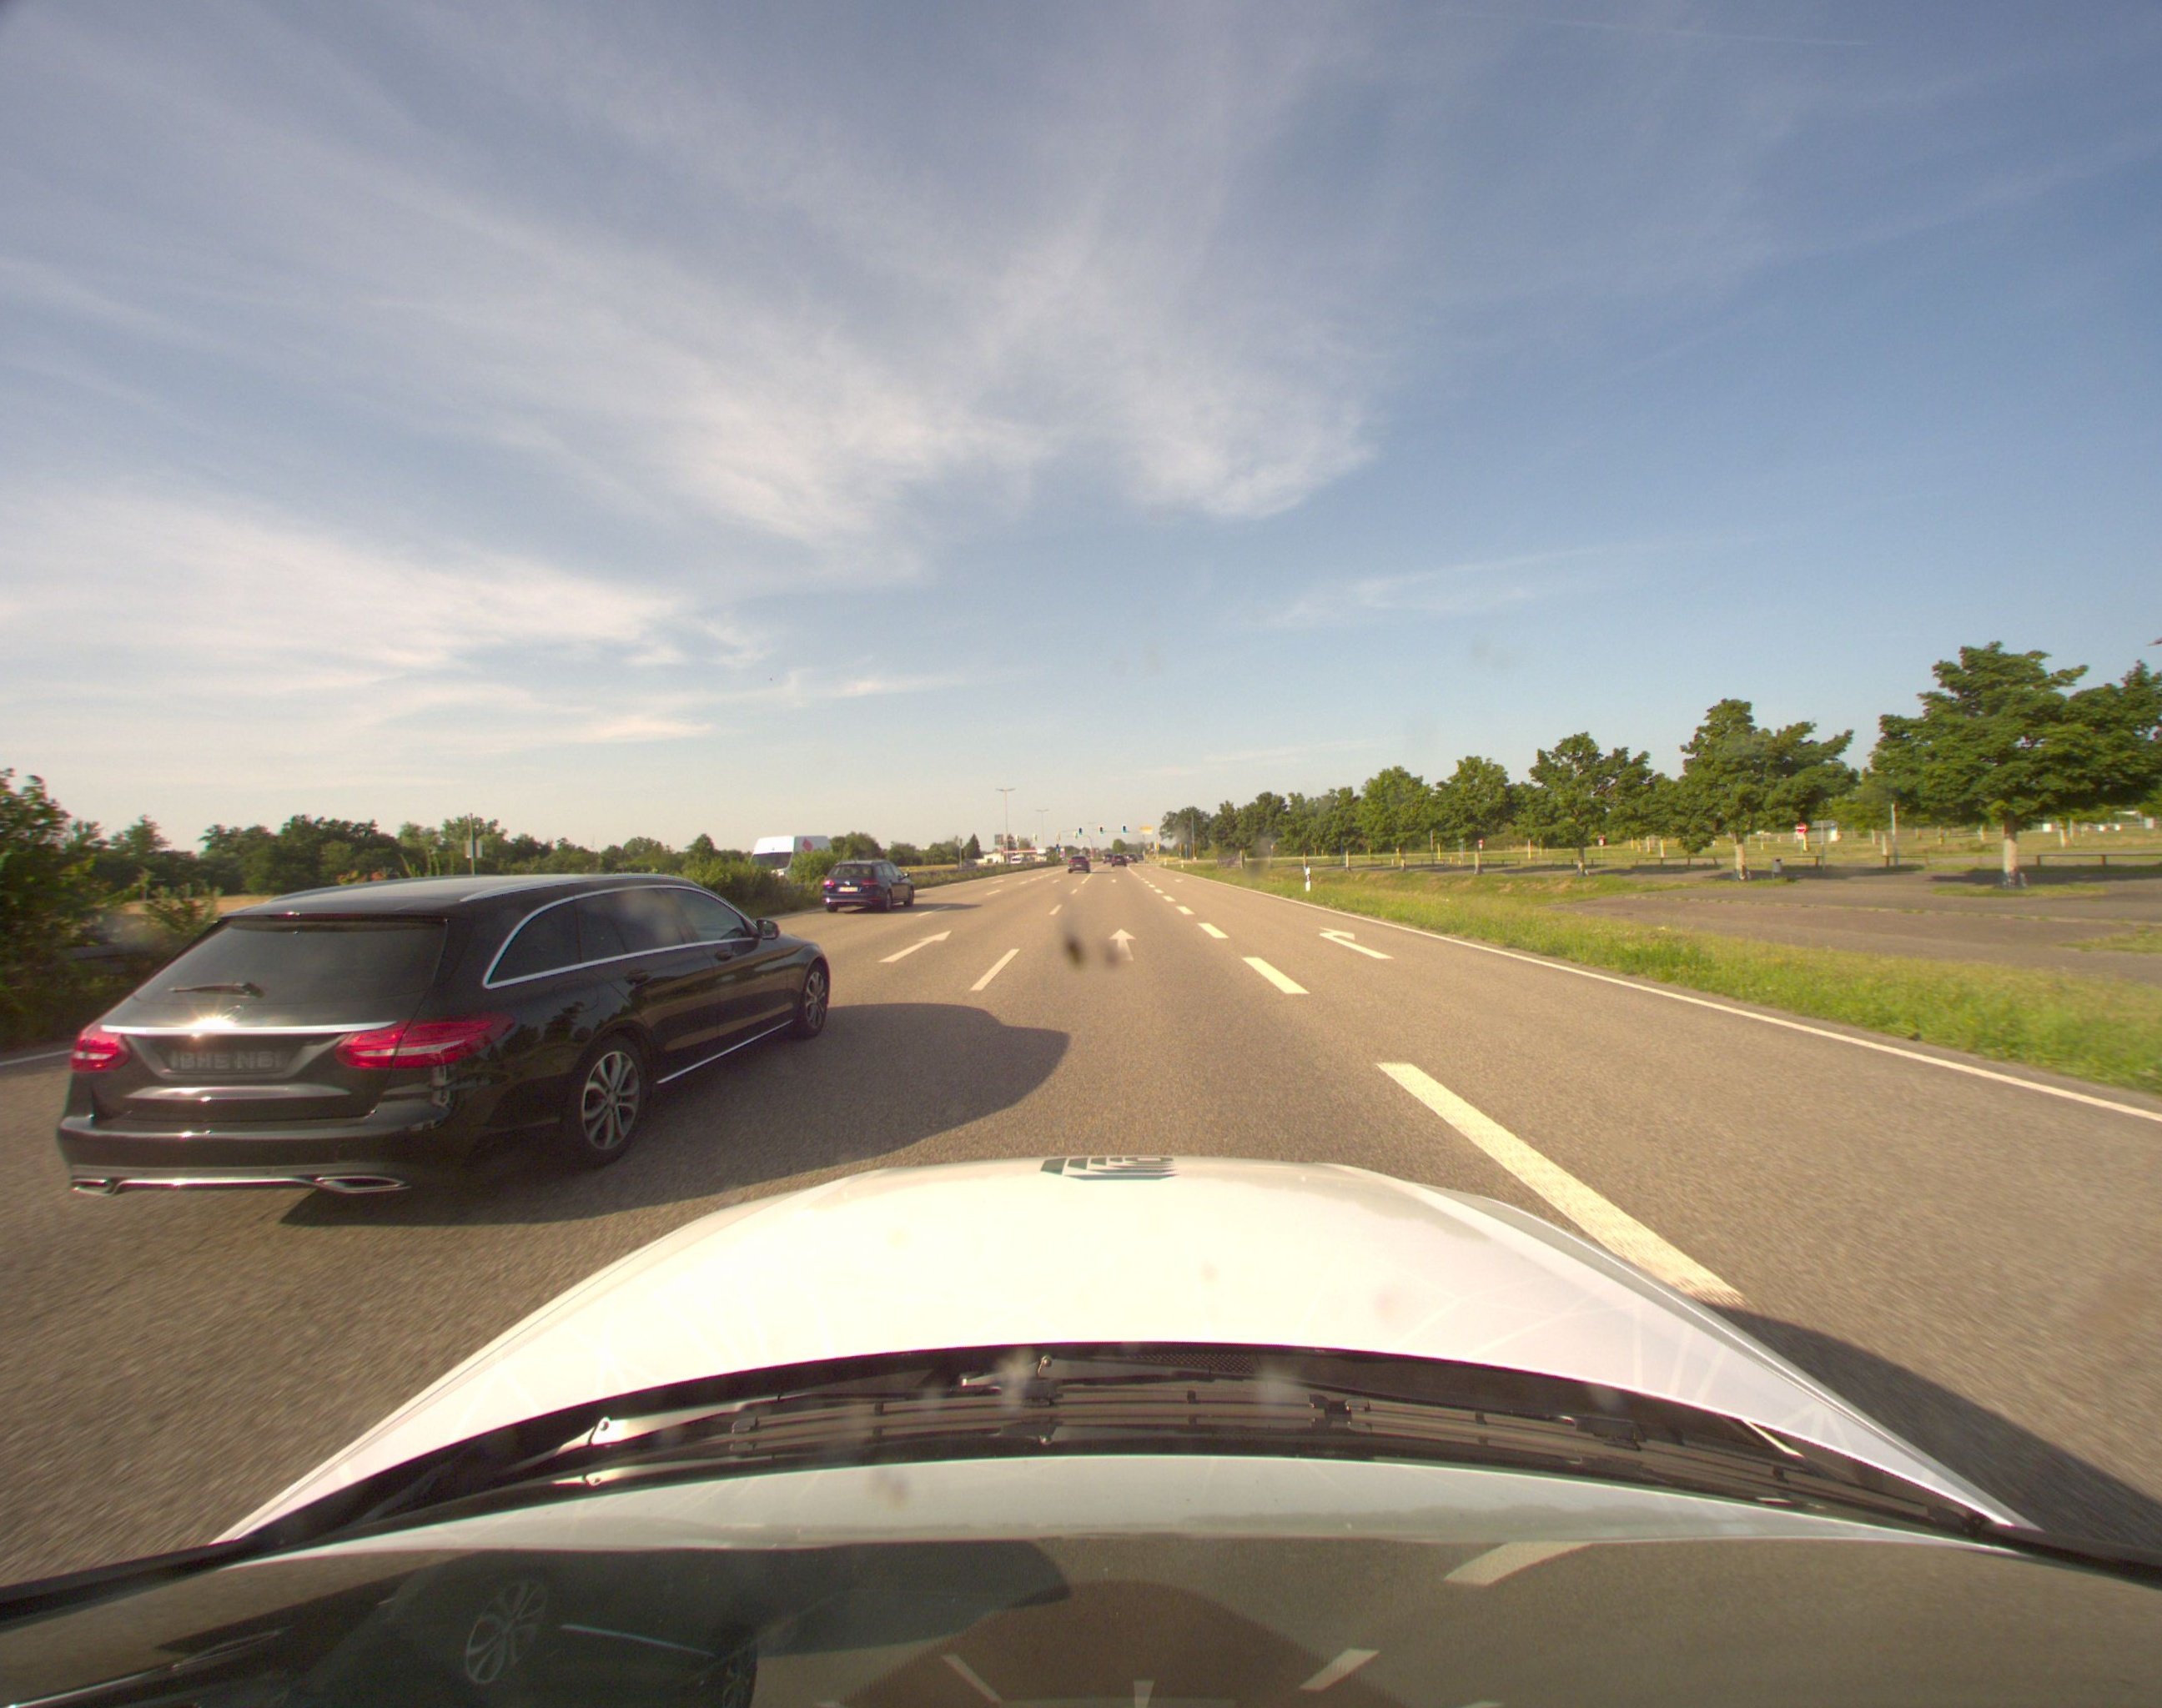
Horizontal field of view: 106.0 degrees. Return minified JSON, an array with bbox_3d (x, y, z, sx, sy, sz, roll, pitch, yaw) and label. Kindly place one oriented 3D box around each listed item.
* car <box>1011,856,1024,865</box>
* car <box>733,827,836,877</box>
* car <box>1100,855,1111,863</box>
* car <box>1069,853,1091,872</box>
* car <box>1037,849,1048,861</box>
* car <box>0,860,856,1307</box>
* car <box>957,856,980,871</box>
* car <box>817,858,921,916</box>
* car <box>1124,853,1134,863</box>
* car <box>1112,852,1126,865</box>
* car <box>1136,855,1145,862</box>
[{"bbox_3d":[-9.717,0.998,124.375,1.515,1.363,3.445,-1,0,2],"label":"car"},{"bbox_3d":[-13.129,-0.037,36.657,2.153,2.035,6.325,0,-1,2],"label":"car"},{"bbox_3d":[4.355,0.874,142.978,1.806,1.463,4.403,-2,0,2],"label":"car"},{"bbox_3d":[-0.067,0.743,72.163,1.839,1.612,4.403,1,0,2],"label":"car"},{"bbox_3d":[-10.035,0.241,213.121,2.263,2.852,5.251,-1,0,2],"label":"car"},{"bbox_3d":[-3.064,0.818,5.327,1.566,1.471,5.025,-2,0,2],"label":"car"},{"bbox_3d":[-11.064,0.935,80.308,1.604,1.441,3.621,0,-1,2],"label":"car"},{"bbox_3d":[-6.100,0.886,24.028,1.640,1.471,4.778,-2,0,2],"label":"car"},{"bbox_3d":[8.411,0.717,142.931,1.742,1.617,3.759,1,0,2],"label":"car"},{"bbox_3d":[5.130,0.574,110.582,1.925,1.680,4.403,1,0,2],"label":"car"},{"bbox_3d":[13.627,1.039,187.383,1.940,1.636,3.447,0,-1,0],"label":"car"}]
